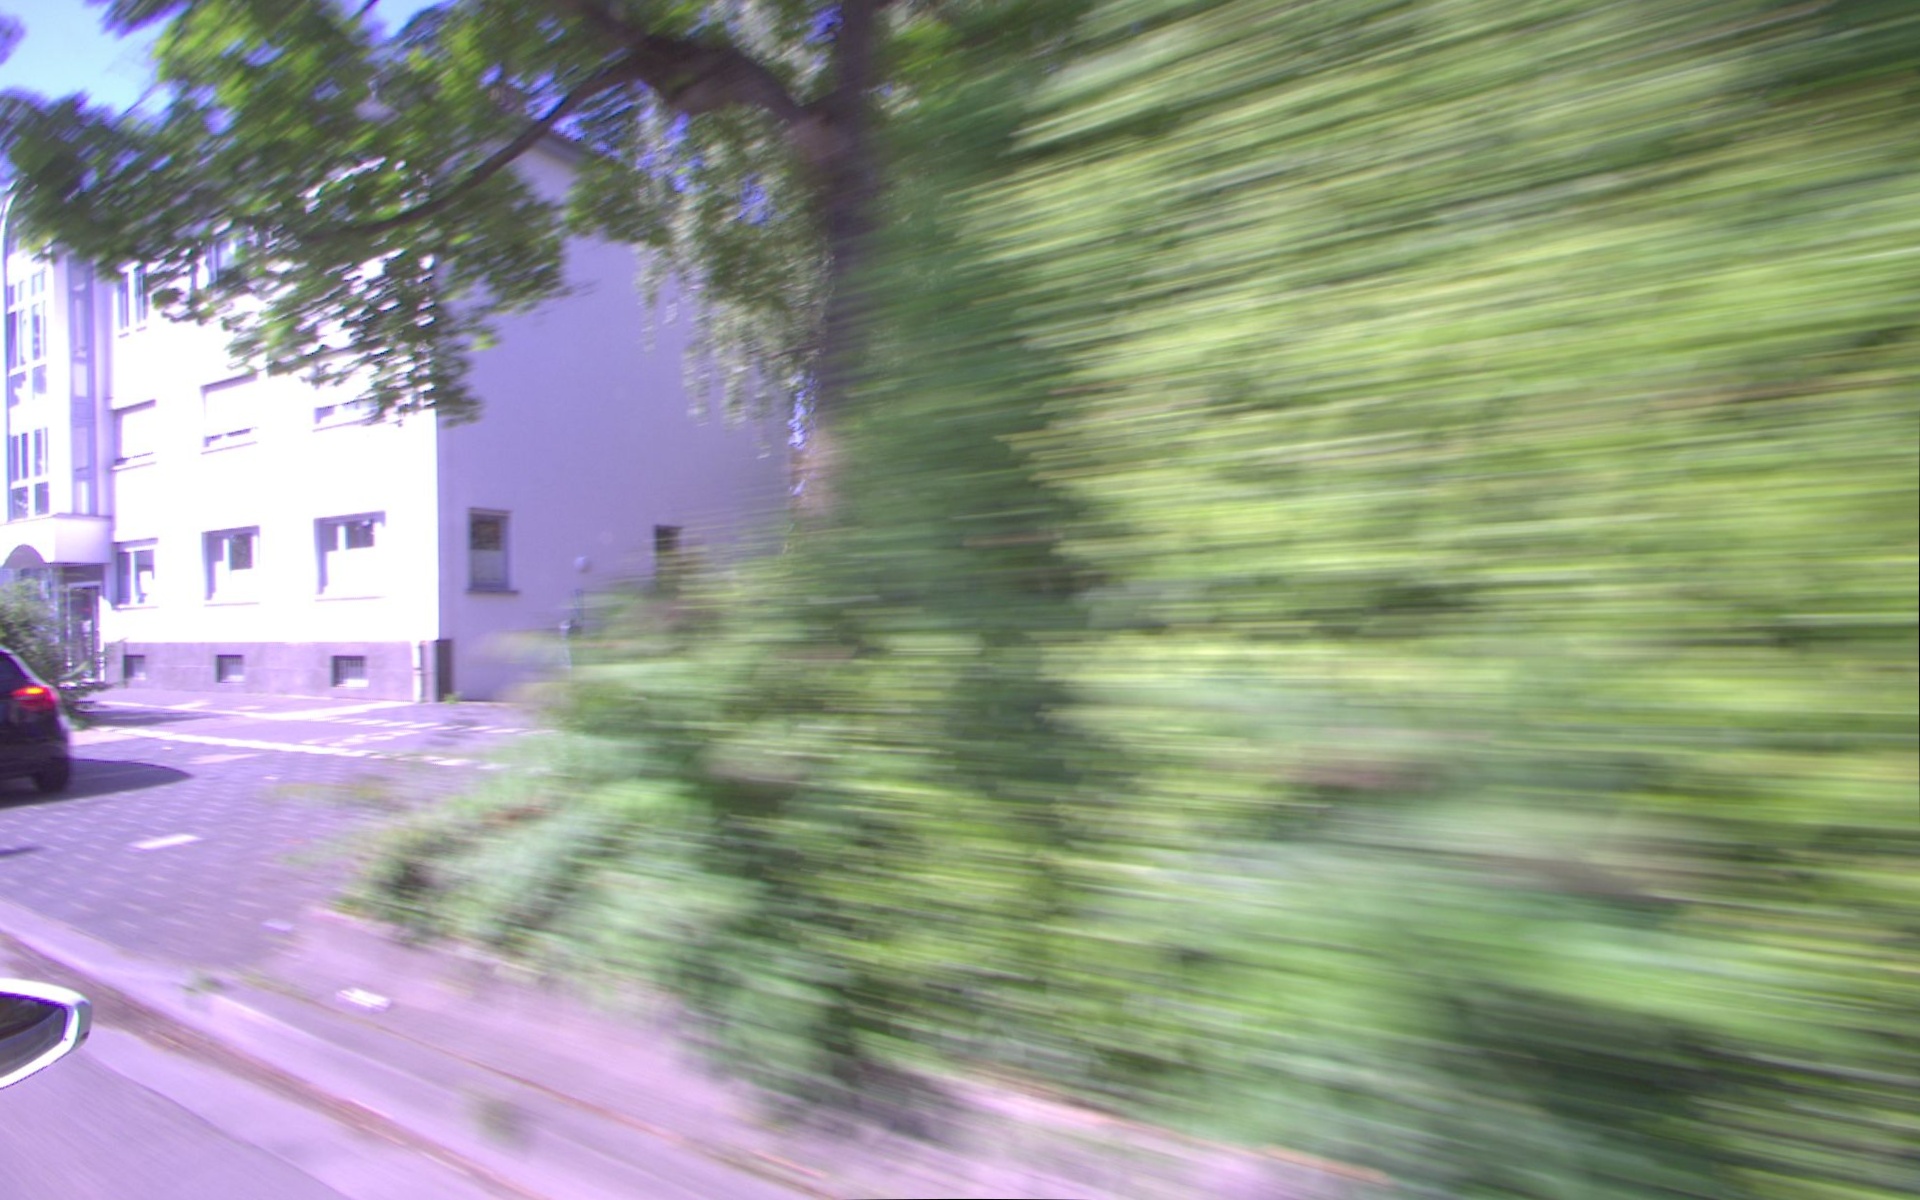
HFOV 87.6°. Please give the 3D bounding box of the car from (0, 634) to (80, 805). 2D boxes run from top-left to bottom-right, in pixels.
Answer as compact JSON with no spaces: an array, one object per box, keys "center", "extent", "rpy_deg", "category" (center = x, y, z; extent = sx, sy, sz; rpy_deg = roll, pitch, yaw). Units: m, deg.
[{"center":[-10.036,1.077,9.342],"extent":[3.944,1.439,1.722],"rpy_deg":[-1,0,33],"category":"car"}]
